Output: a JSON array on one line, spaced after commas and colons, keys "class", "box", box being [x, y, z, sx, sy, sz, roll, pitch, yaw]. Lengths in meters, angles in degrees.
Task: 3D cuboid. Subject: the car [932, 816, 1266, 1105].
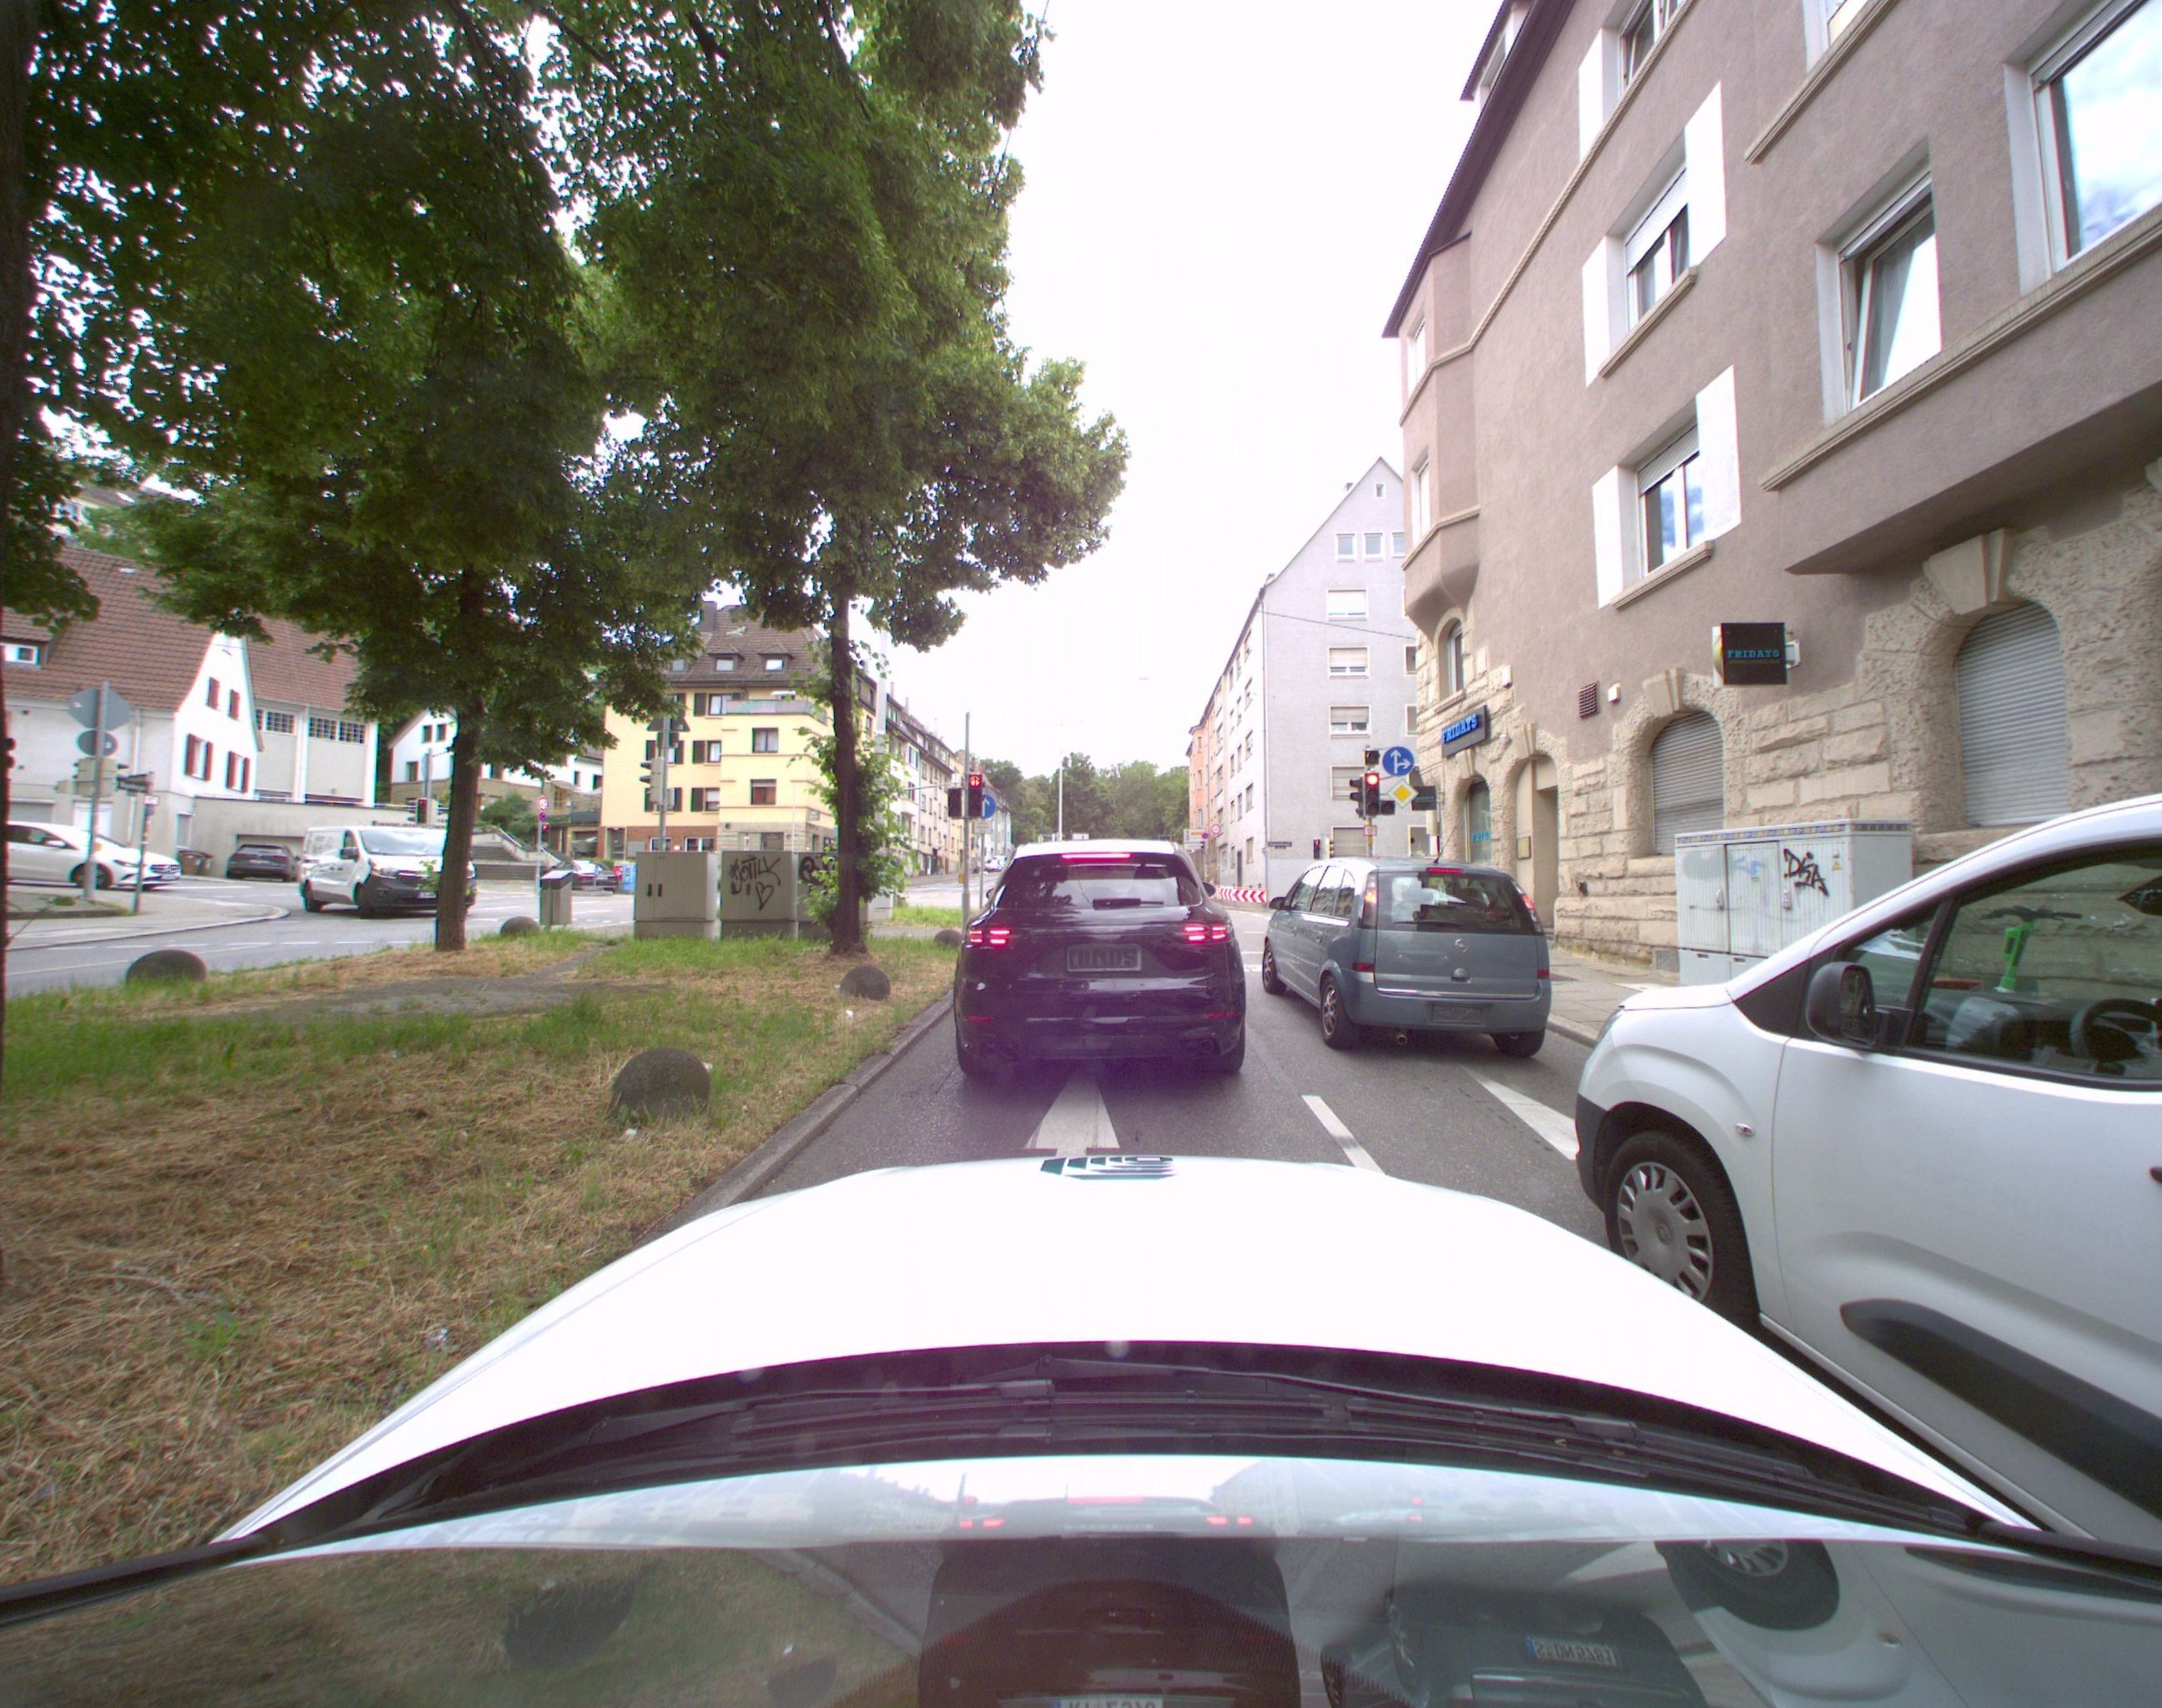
[{"class": "car", "box": [0.167, 0.648, 6.833, 1.948, 1.674, 4.001, -1, -1, 2]}]

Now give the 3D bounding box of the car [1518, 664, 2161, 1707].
[{"class": "car", "box": [2.822, 0.602, 1.058, 1.969, 1.775, 4.676, 3, 0, 0]}]

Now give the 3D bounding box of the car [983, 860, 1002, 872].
[{"class": "car", "box": [-10.807, 1.486, 99.163, 1.732, 1.387, 3.815, 0, -1, 2]}]

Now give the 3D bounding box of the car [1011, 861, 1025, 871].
[{"class": "car", "box": [-9.685, 1.873, 125.388, 1.682, 1.538, 3.815, 0, -1, 2]}]

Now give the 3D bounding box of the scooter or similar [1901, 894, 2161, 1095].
[{"class": "scooter or similar", "box": [6.450, 0.855, 5.454, 0.524, 1.104, 1.424, -1, -1, 4]}]

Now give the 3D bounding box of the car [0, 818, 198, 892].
[{"class": "car", "box": [-25.536, 0.004, 20.373, 4.260, 1.594, 1.681, 4, -2, -17]}]

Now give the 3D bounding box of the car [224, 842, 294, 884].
[{"class": "car", "box": [-32.178, 0.350, 31.854, 3.019, 1.405, 1.681, 2, -4, 42]}]

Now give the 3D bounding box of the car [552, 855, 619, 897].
[{"class": "car", "box": [-23.628, 1.005, 38.795, 3.477, 1.596, 1.881, 7, 4, 44]}]

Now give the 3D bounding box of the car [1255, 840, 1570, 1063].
[{"class": "car", "box": [2.874, 0.744, 7.933, 1.622, 1.598, 3.670, 3, 0, 2]}]

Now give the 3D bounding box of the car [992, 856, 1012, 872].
[{"class": "car", "box": [-10.133, 1.241, 104.969, 2.008, 2.045, 4.669, 0, -1, 2]}]

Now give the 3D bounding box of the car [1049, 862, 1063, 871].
[{"class": "car", "box": [-3.989, 1.958, 130.742, 1.854, 1.388, 4.096, 0, -1, 2]}]

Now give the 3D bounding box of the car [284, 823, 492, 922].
[{"class": "car", "box": [-15.550, 0.347, 18.193, 5.239, 1.945, 2.013, 0, 0, 32]}]
